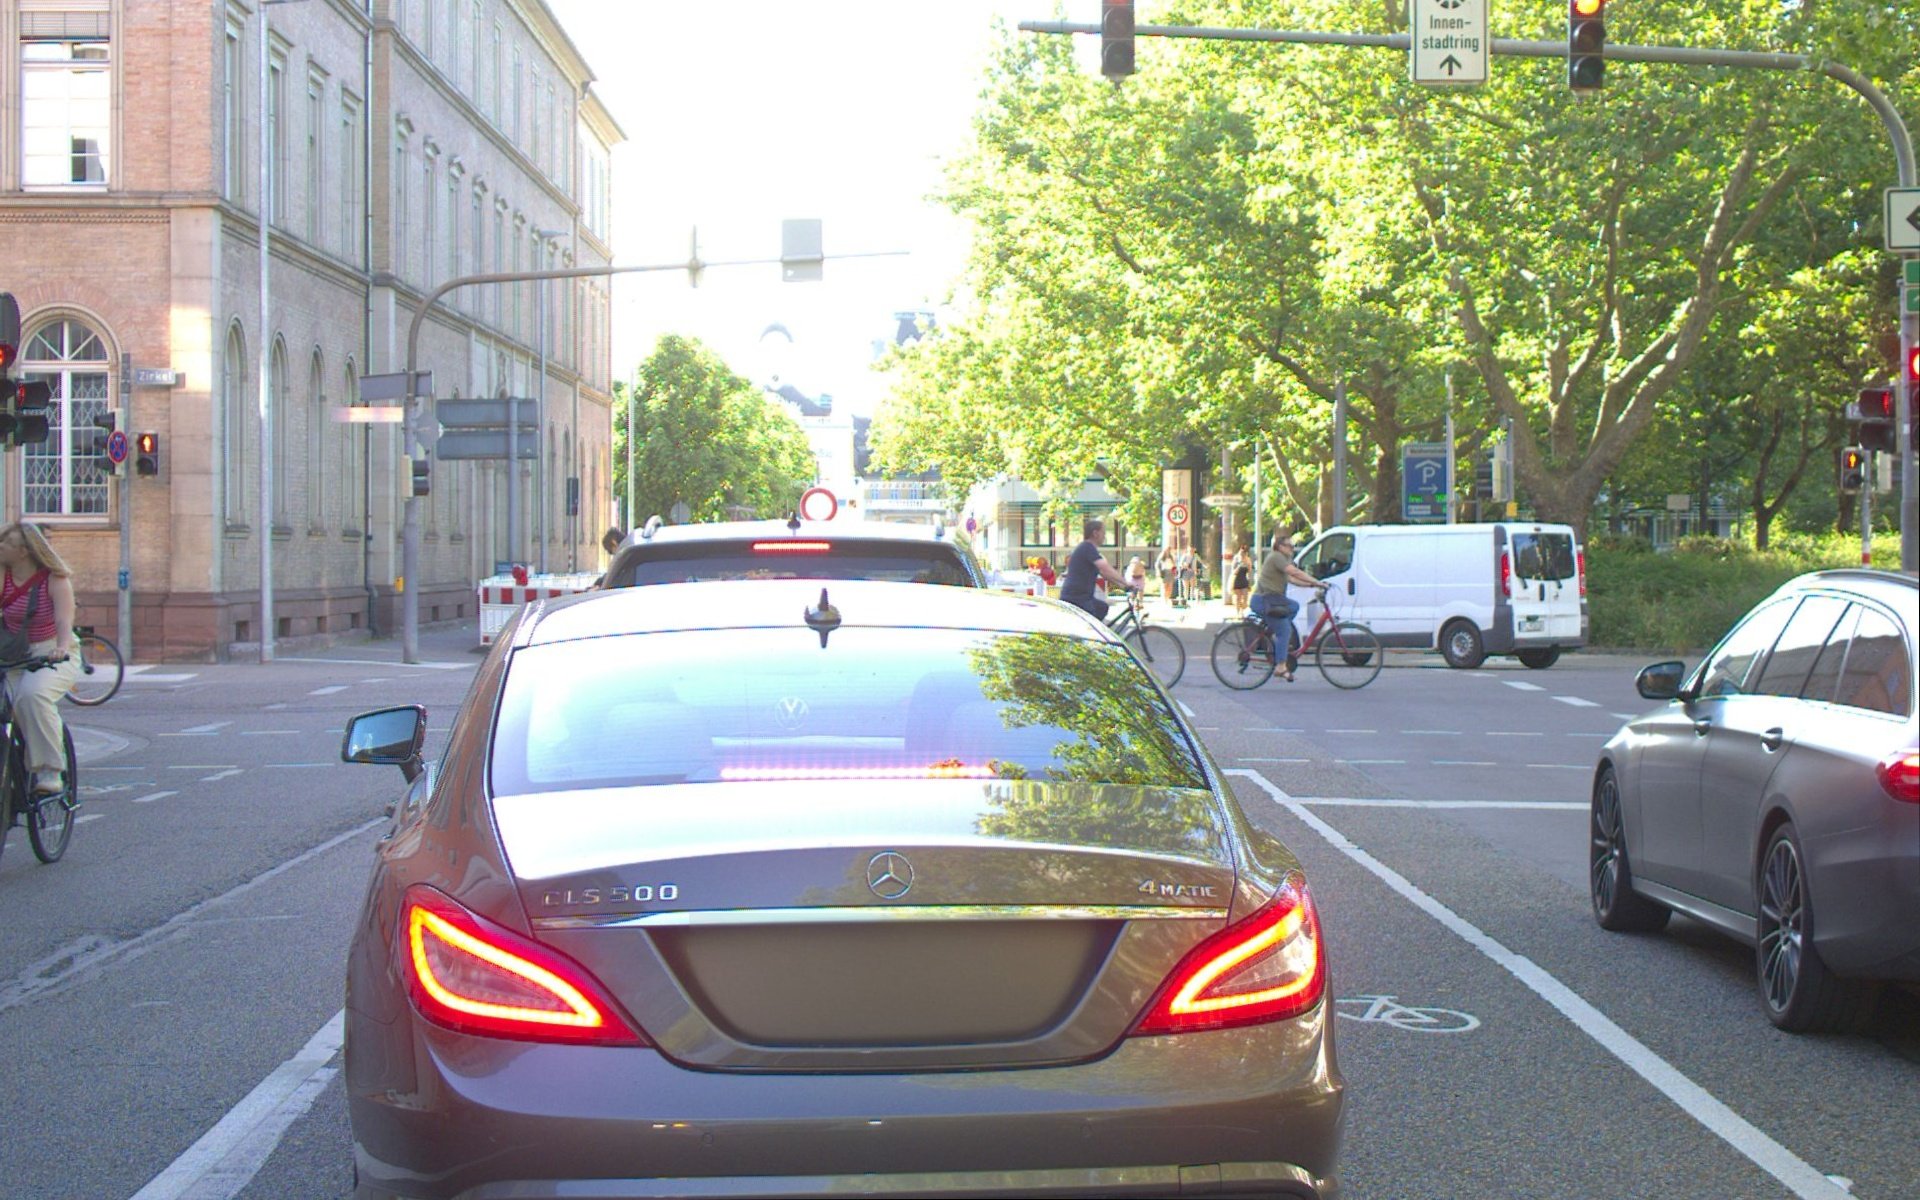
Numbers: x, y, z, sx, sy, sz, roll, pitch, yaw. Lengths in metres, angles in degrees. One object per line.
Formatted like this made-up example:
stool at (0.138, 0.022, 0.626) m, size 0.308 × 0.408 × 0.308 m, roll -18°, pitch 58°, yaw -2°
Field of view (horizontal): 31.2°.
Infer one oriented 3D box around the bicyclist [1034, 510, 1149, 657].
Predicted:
bicyclist at (1.340, -0.170, 35.101) m, size 1.116 × 1.485 × 0.712 m, roll 0°, pitch 1°, yaw -2°

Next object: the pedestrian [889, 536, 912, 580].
pedestrian at (-2.106, -1.488, 121.390) m, size 0.801 × 1.571 × 0.845 m, roll 0°, pitch 1°, yaw -1°

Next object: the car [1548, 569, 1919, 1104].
car at (3.453, 0.670, 11.977) m, size 1.913 × 1.459 × 4.669 m, roll 2°, pitch 1°, yaw -1°

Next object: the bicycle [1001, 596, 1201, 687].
bicycle at (1.429, 0.423, 35.113) m, size 1.986 × 0.900 × 0.734 m, roll 0°, pitch 1°, yaw -1°

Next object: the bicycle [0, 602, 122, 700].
bicycle at (-9.191, 0.495, 33.778) m, size 1.793 × 0.943 × 0.614 m, roll 1°, pitch 1°, yaw -6°

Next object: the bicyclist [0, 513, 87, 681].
bicyclist at (-9.150, -0.036, 33.780) m, size 1.014 × 1.637 × 0.608 m, roll 0°, pitch 1°, yaw -6°

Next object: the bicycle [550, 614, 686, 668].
bicycle at (-4.149, 0.496, 41.775) m, size 1.587 × 0.632 × 0.496 m, roll 0°, pitch 1°, yaw 3°

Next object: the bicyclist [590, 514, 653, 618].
bicyclist at (-4.114, -0.409, 41.764) m, size 0.704 × 1.256 × 0.457 m, roll 0°, pitch 1°, yaw 3°

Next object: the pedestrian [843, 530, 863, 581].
pedestrian at (-3.972, -1.659, 127.748) m, size 0.721 × 1.895 × 0.704 m, roll 1°, pitch 1°, yaw -1°

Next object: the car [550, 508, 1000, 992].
car at (-0.720, 0.483, 13.688) m, size 1.517 × 1.641 × 3.881 m, roll 1°, pitch 1°, yaw -3°

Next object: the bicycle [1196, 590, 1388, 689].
bicycle at (3.509, 0.413, 36.419) m, size 1.980 × 1.024 × 0.651 m, roll 0°, pitch 1°, yaw 2°

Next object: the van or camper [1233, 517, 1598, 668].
van or camper at (6.101, -0.138, 46.403) m, size 4.591 × 1.935 × 1.995 m, roll 1°, pitch 1°, yaw 44°

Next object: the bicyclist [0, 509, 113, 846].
bicyclist at (-4.547, 0.352, 16.561) m, size 0.685 × 1.572 × 0.982 m, roll 0°, pitch 1°, yaw 0°

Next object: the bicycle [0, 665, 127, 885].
bicycle at (-4.549, 0.807, 16.477) m, size 0.693 × 0.926 × 1.863 m, roll 0°, pitch 1°, yaw -1°

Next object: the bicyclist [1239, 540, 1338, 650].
bicyclist at (3.474, -0.059, 36.422) m, size 0.991 × 1.150 × 0.620 m, roll 0°, pitch 1°, yaw 1°

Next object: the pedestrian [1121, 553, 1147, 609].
pedestrian at (4.471, -0.486, 88.347) m, size 0.648 × 1.428 × 0.659 m, roll 0°, pitch 1°, yaw -1°

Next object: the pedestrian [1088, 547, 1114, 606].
pedestrian at (3.643, -0.611, 88.744) m, size 0.648 × 1.498 × 0.637 m, roll 0°, pitch 1°, yaw -1°

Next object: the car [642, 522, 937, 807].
car at (-1.075, 0.363, 23.258) m, size 1.820 × 1.756 × 4.000 m, roll 0°, pitch 1°, yaw -1°

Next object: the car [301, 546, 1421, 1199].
car at (-0.432, 0.617, 7.686) m, size 1.803 × 1.451 × 4.352 m, roll 0°, pitch 1°, yaw -8°
